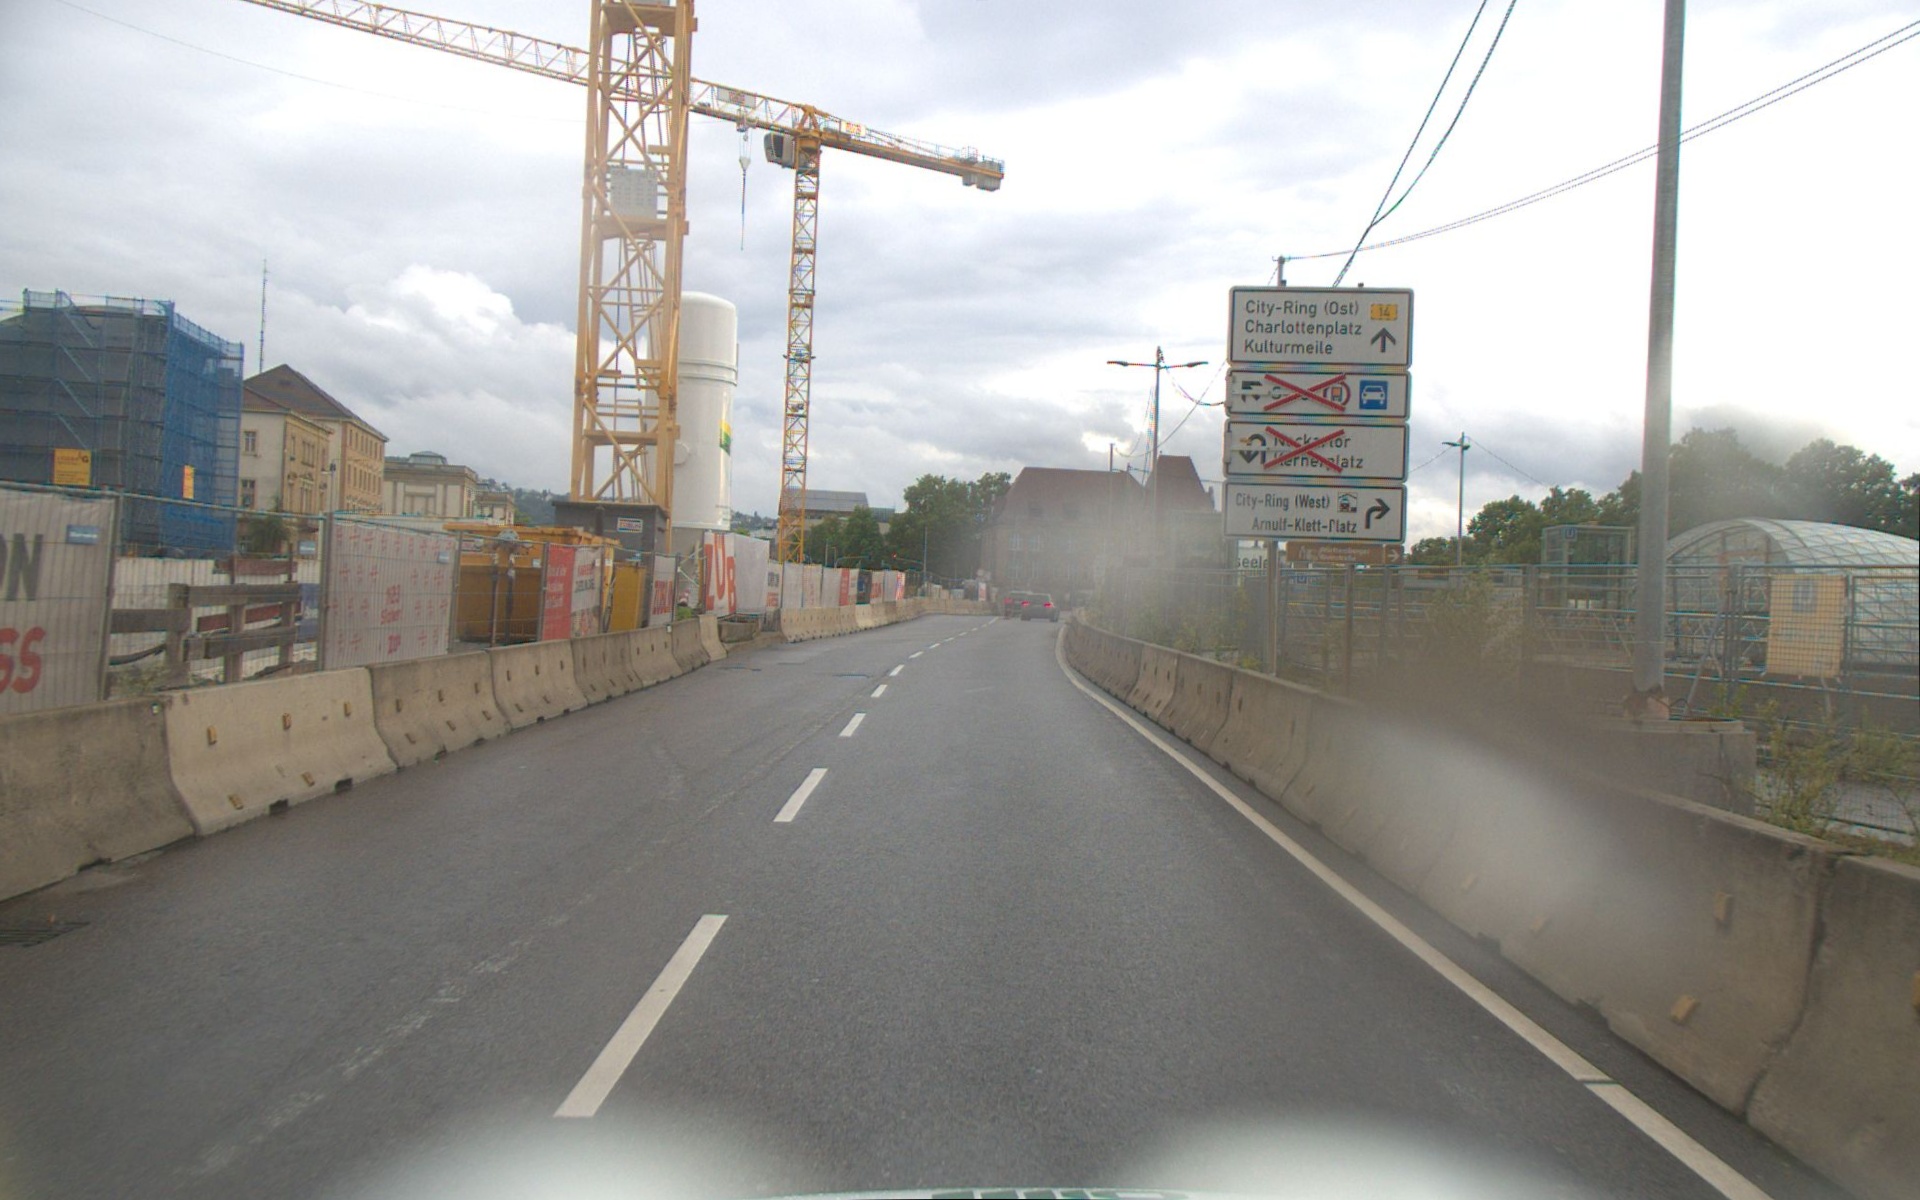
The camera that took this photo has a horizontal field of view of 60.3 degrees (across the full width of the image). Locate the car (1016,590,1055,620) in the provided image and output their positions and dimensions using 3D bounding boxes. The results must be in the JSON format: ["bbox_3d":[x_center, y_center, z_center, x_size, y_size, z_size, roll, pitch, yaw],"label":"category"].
[{"bbox_3d":[4.023,0.290,87.468,1.824,1.458,4.658,2,-1,5],"label":"car"}]

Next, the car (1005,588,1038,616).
[{"bbox_3d":[3.962,0.120,106.001,1.824,1.689,4.659,3,0,5],"label":"car"}]
